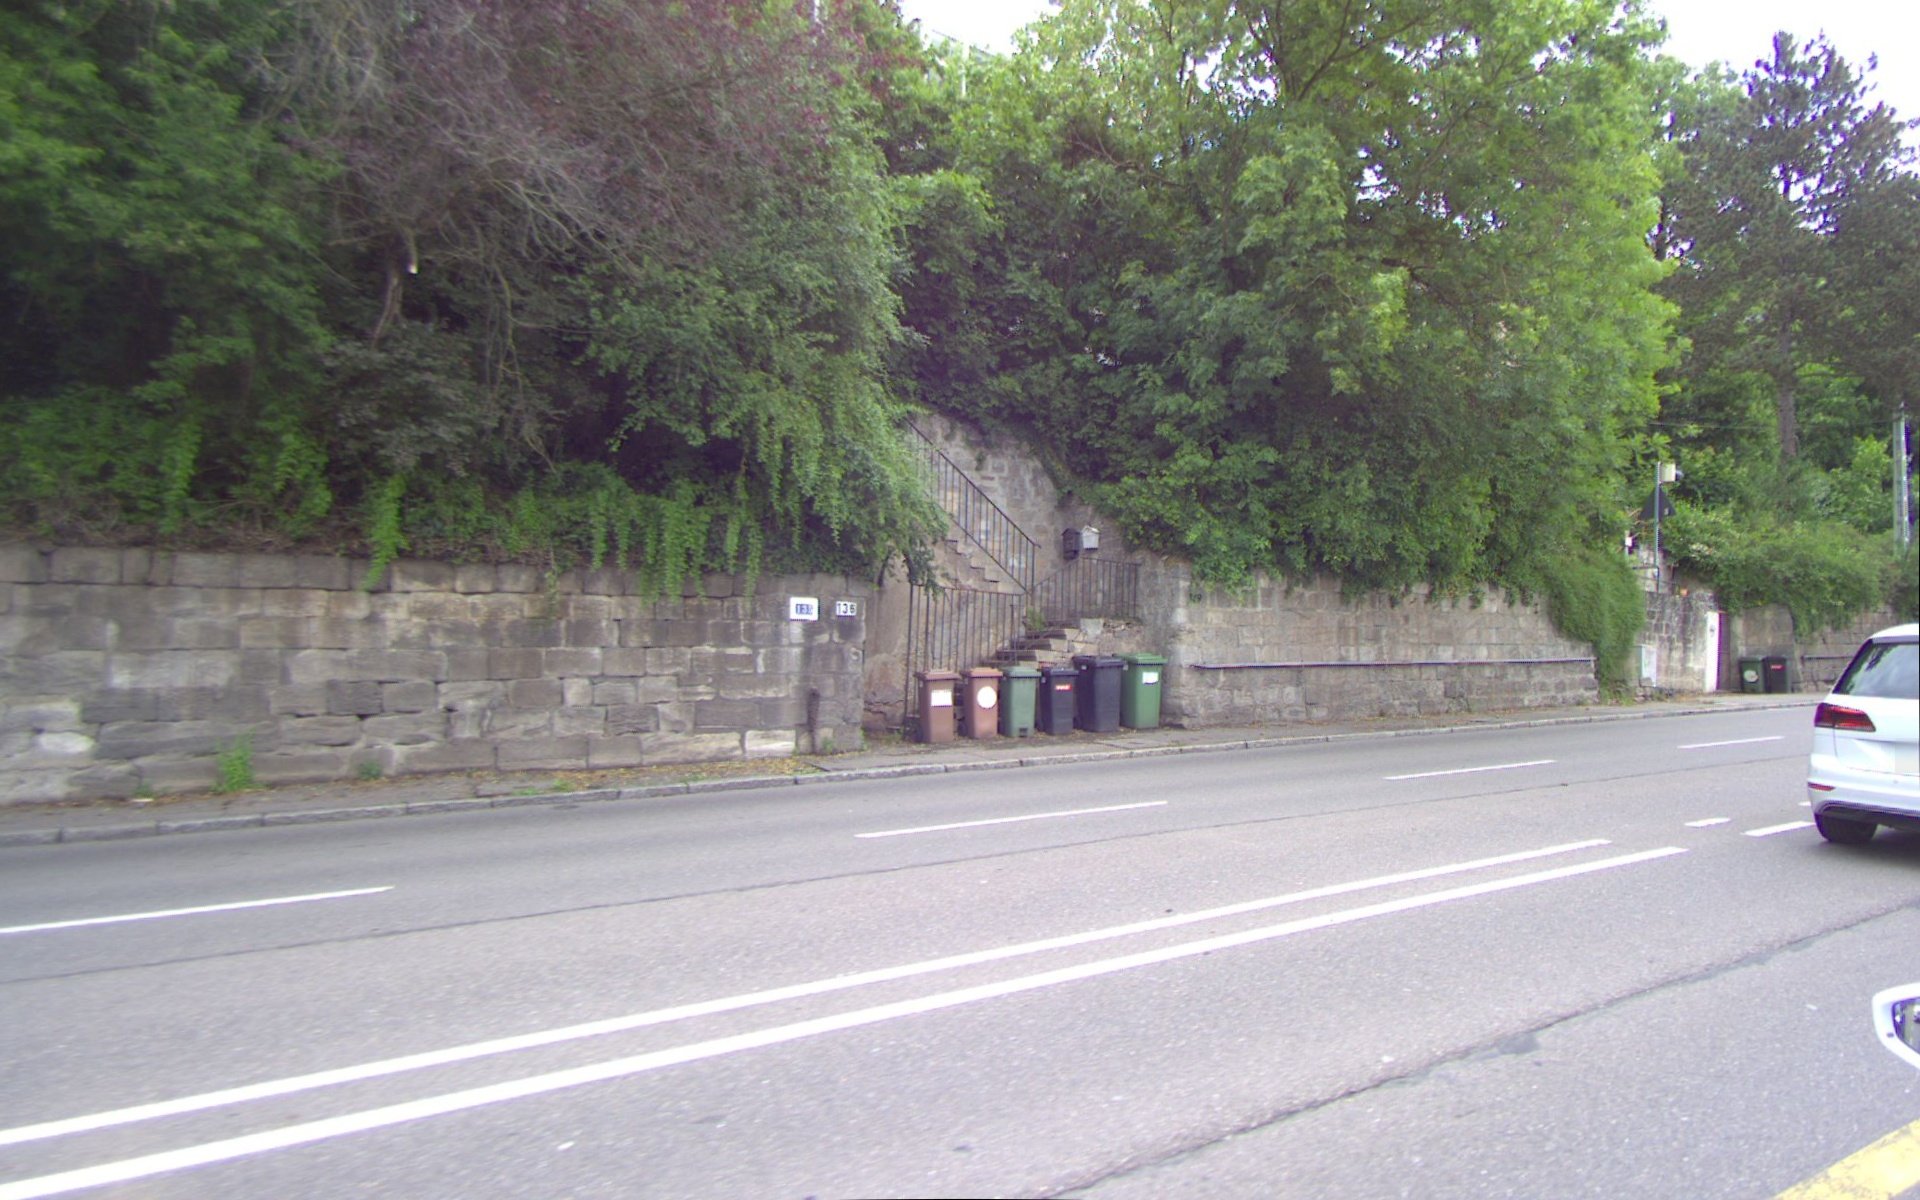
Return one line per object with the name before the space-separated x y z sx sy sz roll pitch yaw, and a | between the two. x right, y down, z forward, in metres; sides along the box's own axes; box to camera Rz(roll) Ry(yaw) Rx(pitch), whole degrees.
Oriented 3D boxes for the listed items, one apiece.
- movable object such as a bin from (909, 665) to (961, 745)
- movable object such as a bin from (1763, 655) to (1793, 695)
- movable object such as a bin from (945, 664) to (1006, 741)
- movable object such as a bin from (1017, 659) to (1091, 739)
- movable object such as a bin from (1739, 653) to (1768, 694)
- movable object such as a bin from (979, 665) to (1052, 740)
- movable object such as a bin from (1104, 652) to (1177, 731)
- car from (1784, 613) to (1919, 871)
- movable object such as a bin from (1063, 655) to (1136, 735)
movable object such as a bin | -0.326 1.339 12.939 0.469 0.978 0.514 1 -2 -33
movable object such as a bin | 19.988 1.825 24.548 0.362 0.948 0.476 2 -1 -34
movable object such as a bin | 0.203 1.360 13.510 0.537 0.978 0.670 1 -2 -33
movable object such as a bin | 1.305 1.369 14.074 0.615 1.048 0.893 1 -2 -33
movable object such as a bin | 19.720 1.815 24.976 0.364 0.984 0.474 2 -1 -34
movable object such as a bin | 0.751 1.387 13.778 0.587 0.958 0.911 1 -2 -33
movable object such as a bin | 2.633 1.323 14.713 0.701 1.085 0.783 0 -2 -33
car | 7.759 0.907 7.072 4.226 1.575 1.712 1 -2 -31
movable object such as a bin | 1.992 1.340 14.365 0.710 1.075 0.767 1 -2 -33
